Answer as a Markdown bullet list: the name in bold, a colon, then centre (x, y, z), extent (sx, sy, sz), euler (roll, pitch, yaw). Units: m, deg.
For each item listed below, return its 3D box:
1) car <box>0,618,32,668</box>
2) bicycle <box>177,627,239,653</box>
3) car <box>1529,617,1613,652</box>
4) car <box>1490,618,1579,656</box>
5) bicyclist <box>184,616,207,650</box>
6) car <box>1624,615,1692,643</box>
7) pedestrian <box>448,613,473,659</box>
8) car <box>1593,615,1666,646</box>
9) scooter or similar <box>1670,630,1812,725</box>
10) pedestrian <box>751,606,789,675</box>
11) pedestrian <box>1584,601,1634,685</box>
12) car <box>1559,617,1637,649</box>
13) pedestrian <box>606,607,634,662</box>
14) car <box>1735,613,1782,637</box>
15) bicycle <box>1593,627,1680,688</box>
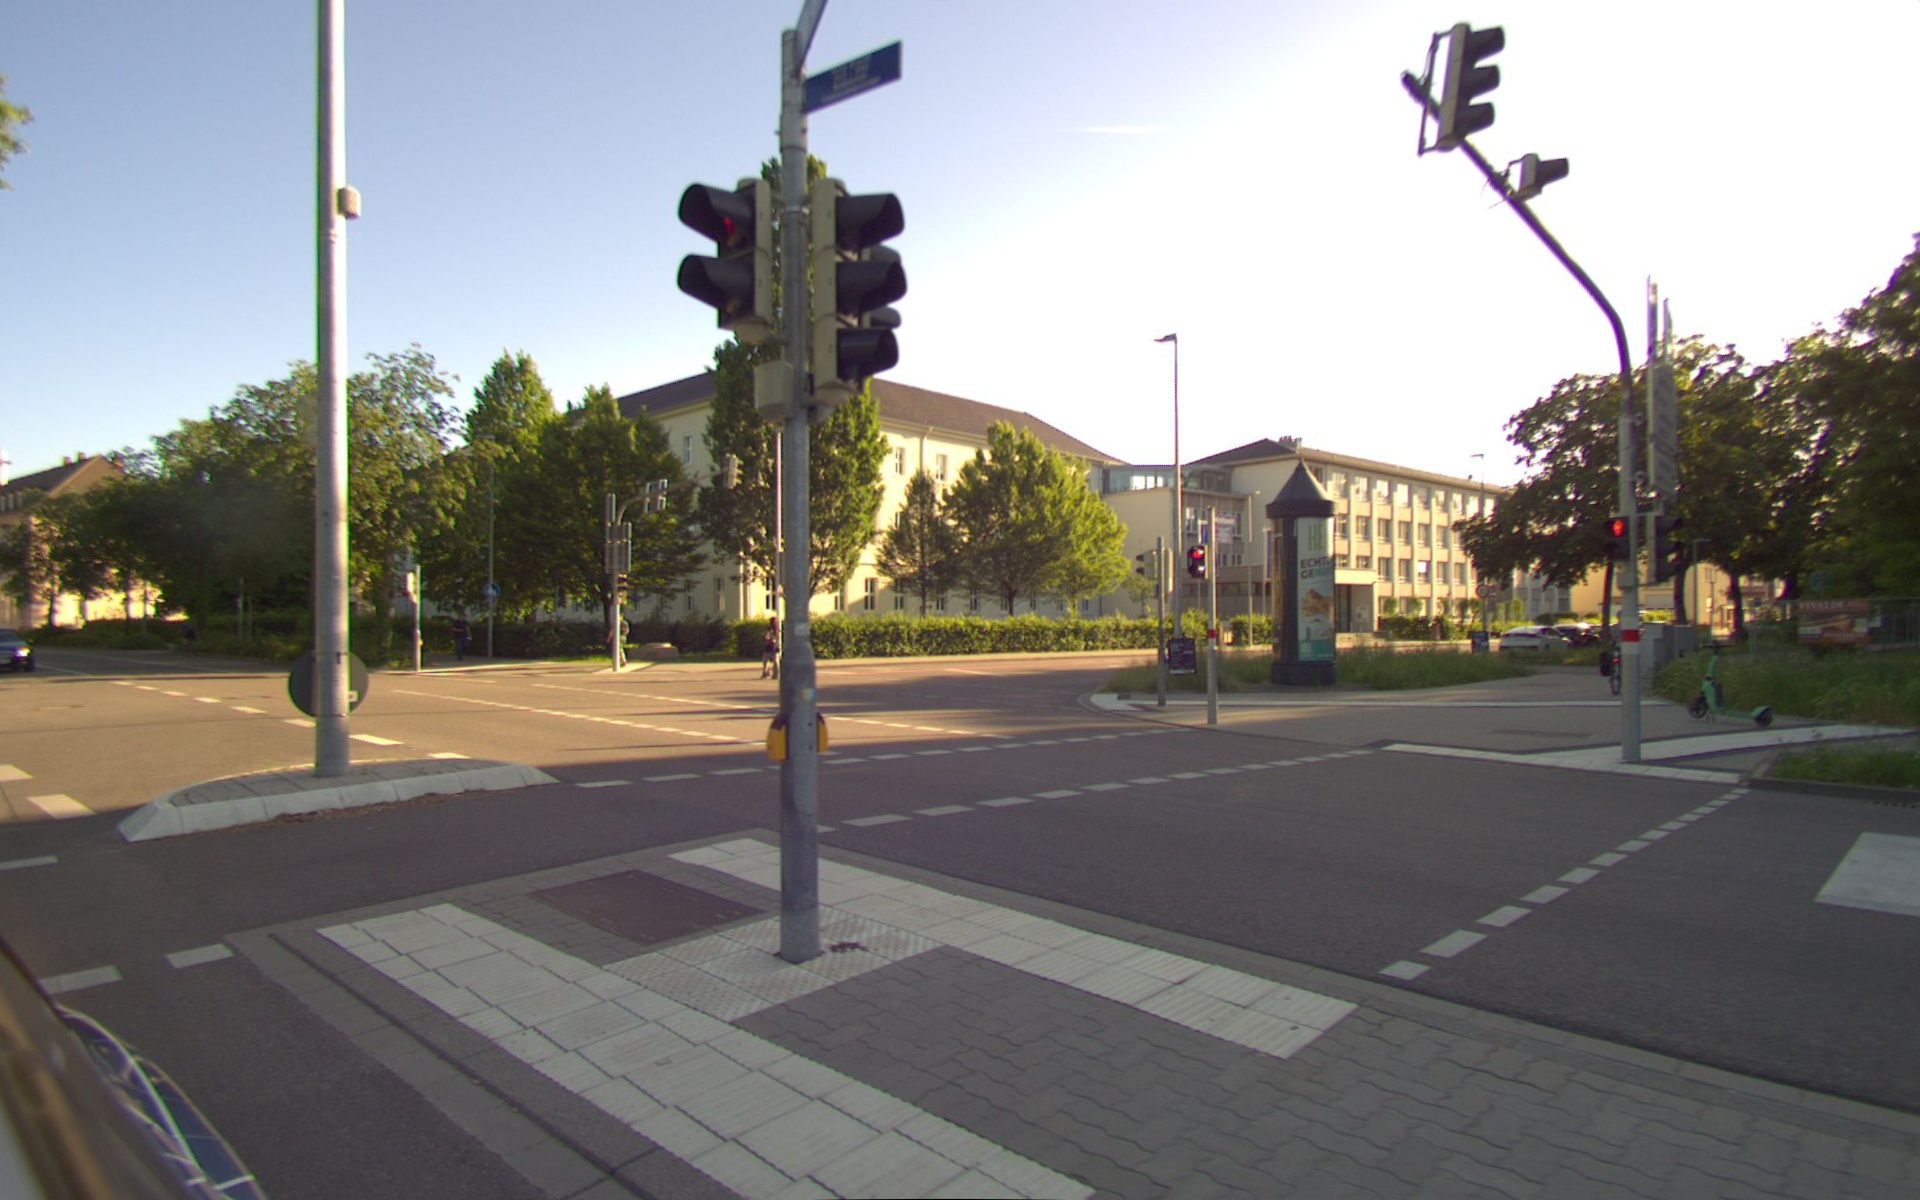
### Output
- **car**: centre (-29.784, 1.349, 30.848), extent (4.525, 1.428, 1.700), euler (-2, 1, 41)
- **bicycle**: centre (-33.431, 1.772, 45.006), extent (2.155, 1.125, 0.699), euler (1, -2, -40)
- **car**: centre (28.968, 1.594, 47.932), extent (4.192, 1.551, 2.241), euler (1, -1, -41)
- **car**: centre (25.031, 1.581, 44.070), extent (4.192, 1.551, 2.072), euler (1, -1, -41)
- **bicyclist**: centre (-33.779, 1.435, 44.720), extent (0.746, 1.477, 0.699), euler (1, -2, -41)
- **car**: centre (40.032, 1.631, 58.038), extent (4.192, 1.551, 2.241), euler (1, -1, -41)
- **pedestrian**: centre (-18.695, 1.326, 37.889), extent (0.681, 1.694, 0.681), euler (1, -2, -40)
- **car**: centre (36.266, 1.627, 54.782), extent (4.192, 1.551, 2.241), euler (1, -1, -41)
- **scooter or similar**: centre (11.456, 1.096, 14.898), extent (0.683, 1.304, 1.501), euler (0, -1, -19)
- **pedestrian**: centre (-5.103, 1.078, 27.166), extent (0.733, 1.830, 0.727), euler (1, -2, -40)
- **pedestrian**: centre (13.484, 0.877, 21.022), extent (0.965, 1.709, 0.643), euler (1, -2, -44)
- **car**: centre (32.510, 1.642, 51.541), extent (4.192, 1.551, 2.241), euler (1, -1, -41)
- **pedestrian**: centre (-11.477, 1.170, 34.160), extent (0.681, 1.830, 0.681), euler (1, -2, -40)
- **car**: centre (56.226, 1.760, 71.222), extent (3.937, 1.598, 1.814), euler (0, -2, -40)
- **bicycle**: centre (13.954, 1.152, 20.840), extent (2.541, 1.144, 0.981), euler (1, -2, -44)
